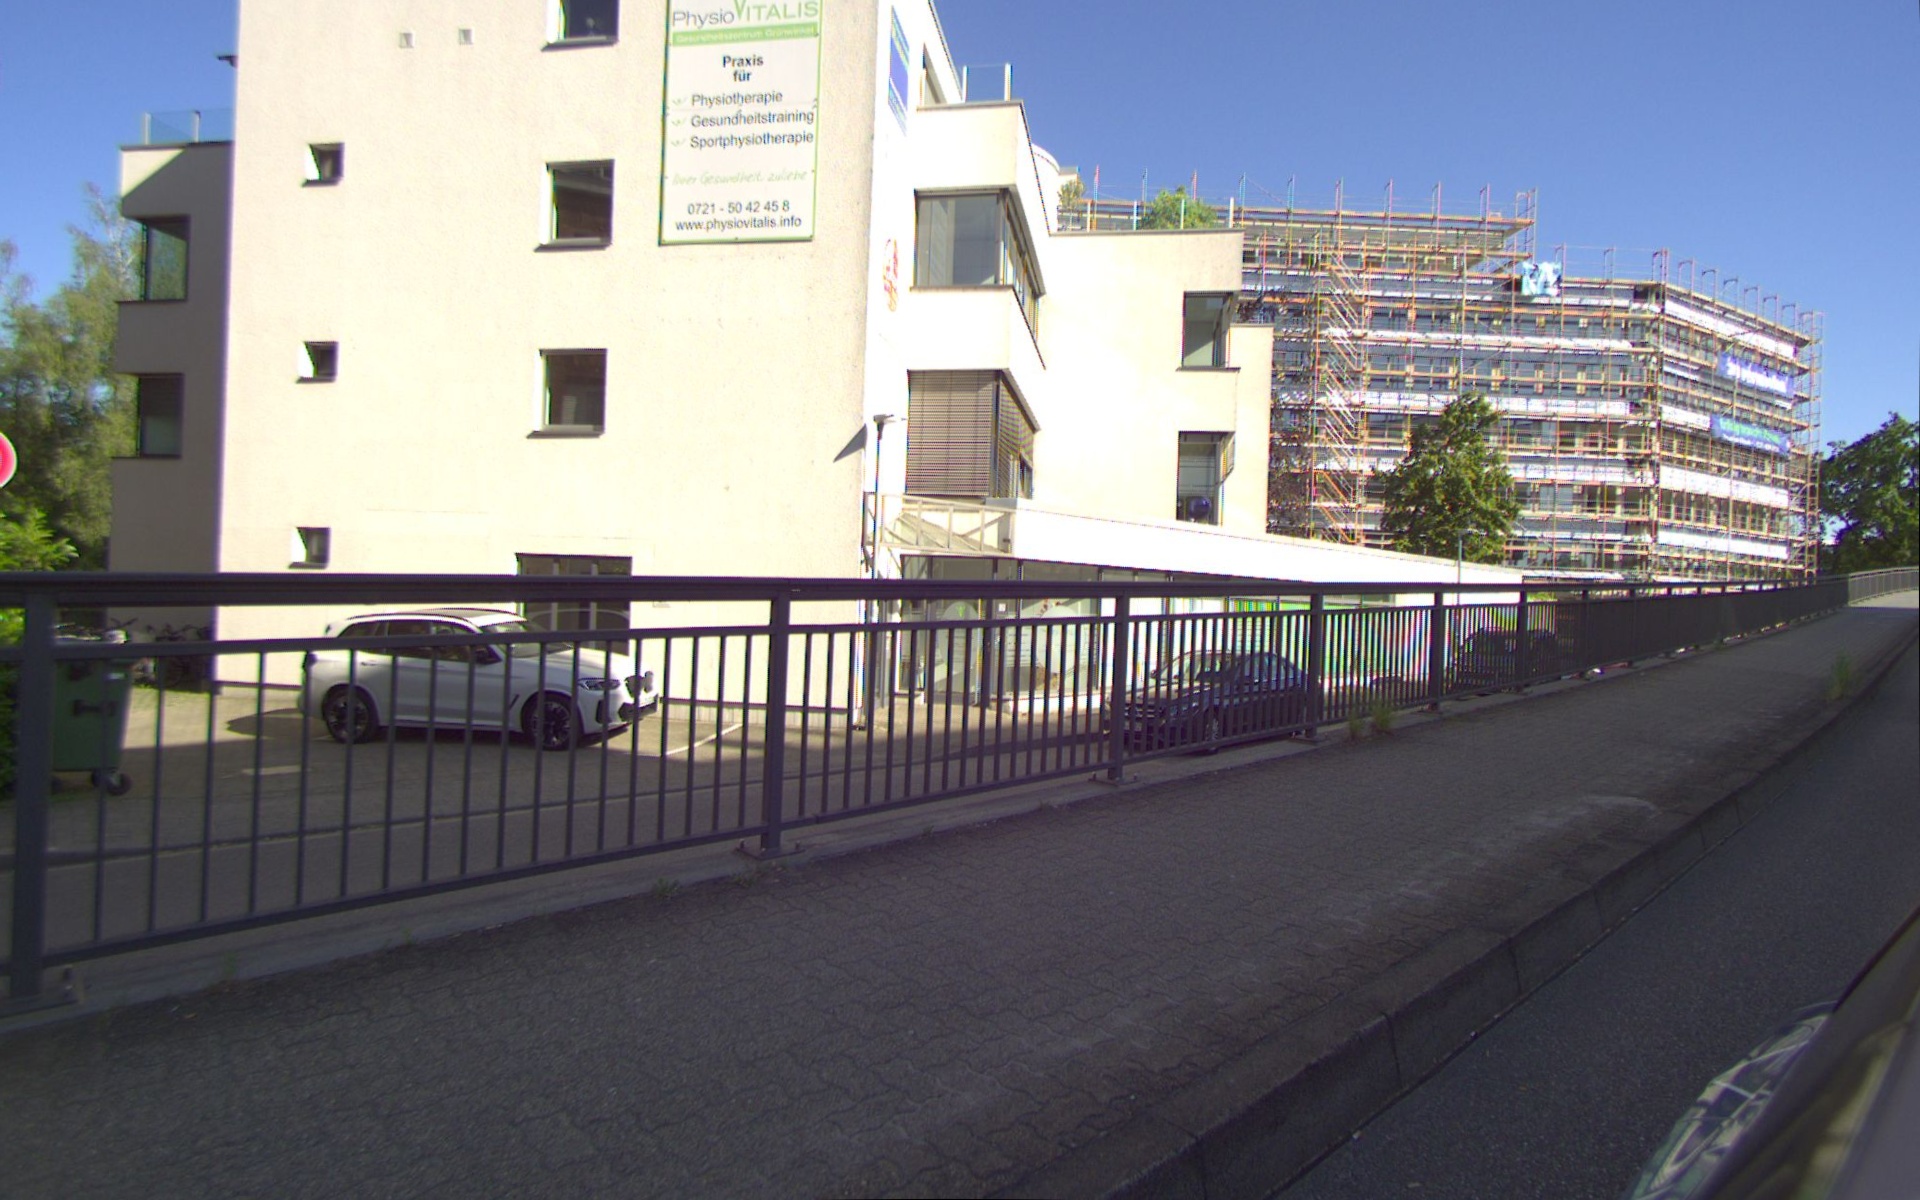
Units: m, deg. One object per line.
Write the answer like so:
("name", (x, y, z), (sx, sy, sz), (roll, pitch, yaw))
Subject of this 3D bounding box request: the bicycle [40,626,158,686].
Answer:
("bicycle", (-16.116, 1.022, 19.019), (0.485, 0.897, 2.053), (1, 3, -1))

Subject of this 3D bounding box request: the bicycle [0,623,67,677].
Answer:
("bicycle", (-18.121, 0.966, 19.242), (0.485, 0.897, 2.053), (1, 3, -1))

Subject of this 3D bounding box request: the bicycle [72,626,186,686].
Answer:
("bicycle", (-15.553, 1.029, 19.021), (0.485, 0.897, 2.053), (1, 3, -1))

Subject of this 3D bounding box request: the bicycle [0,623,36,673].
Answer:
("bicycle", (-18.858, 0.971, 19.378), (0.485, 0.897, 2.053), (1, 3, -1))

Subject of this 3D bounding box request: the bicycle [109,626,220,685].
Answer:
("bicycle", (-14.916, 1.016, 19.047), (0.485, 0.897, 2.053), (1, 3, -1))

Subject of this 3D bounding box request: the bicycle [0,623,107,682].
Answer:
("bicycle", (-17.195, 0.957, 19.097), (0.485, 0.897, 2.053), (1, 3, -1))

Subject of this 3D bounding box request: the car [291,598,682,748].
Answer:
("car", (-6.274, 0.895, 13.633), (4.572, 1.789, 1.824), (0, 1, 9))

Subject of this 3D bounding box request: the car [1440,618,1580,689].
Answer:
("car", (13.957, 1.289, 25.608), (3.930, 1.554, 1.848), (1, 1, -41))

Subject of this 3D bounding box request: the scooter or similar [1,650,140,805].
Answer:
("scooter or similar", (-8.058, 1.091, 9.153), (1.457, 1.235, 0.773), (-1, -2, 43))

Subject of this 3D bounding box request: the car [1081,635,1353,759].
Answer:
("car", (4.152, 1.397, 15.957), (4.599, 1.448, 1.848), (-1, 1, -40))

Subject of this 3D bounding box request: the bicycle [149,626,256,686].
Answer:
("bicycle", (-14.155, 1.025, 18.981), (0.485, 0.897, 2.053), (1, 3, -1))
